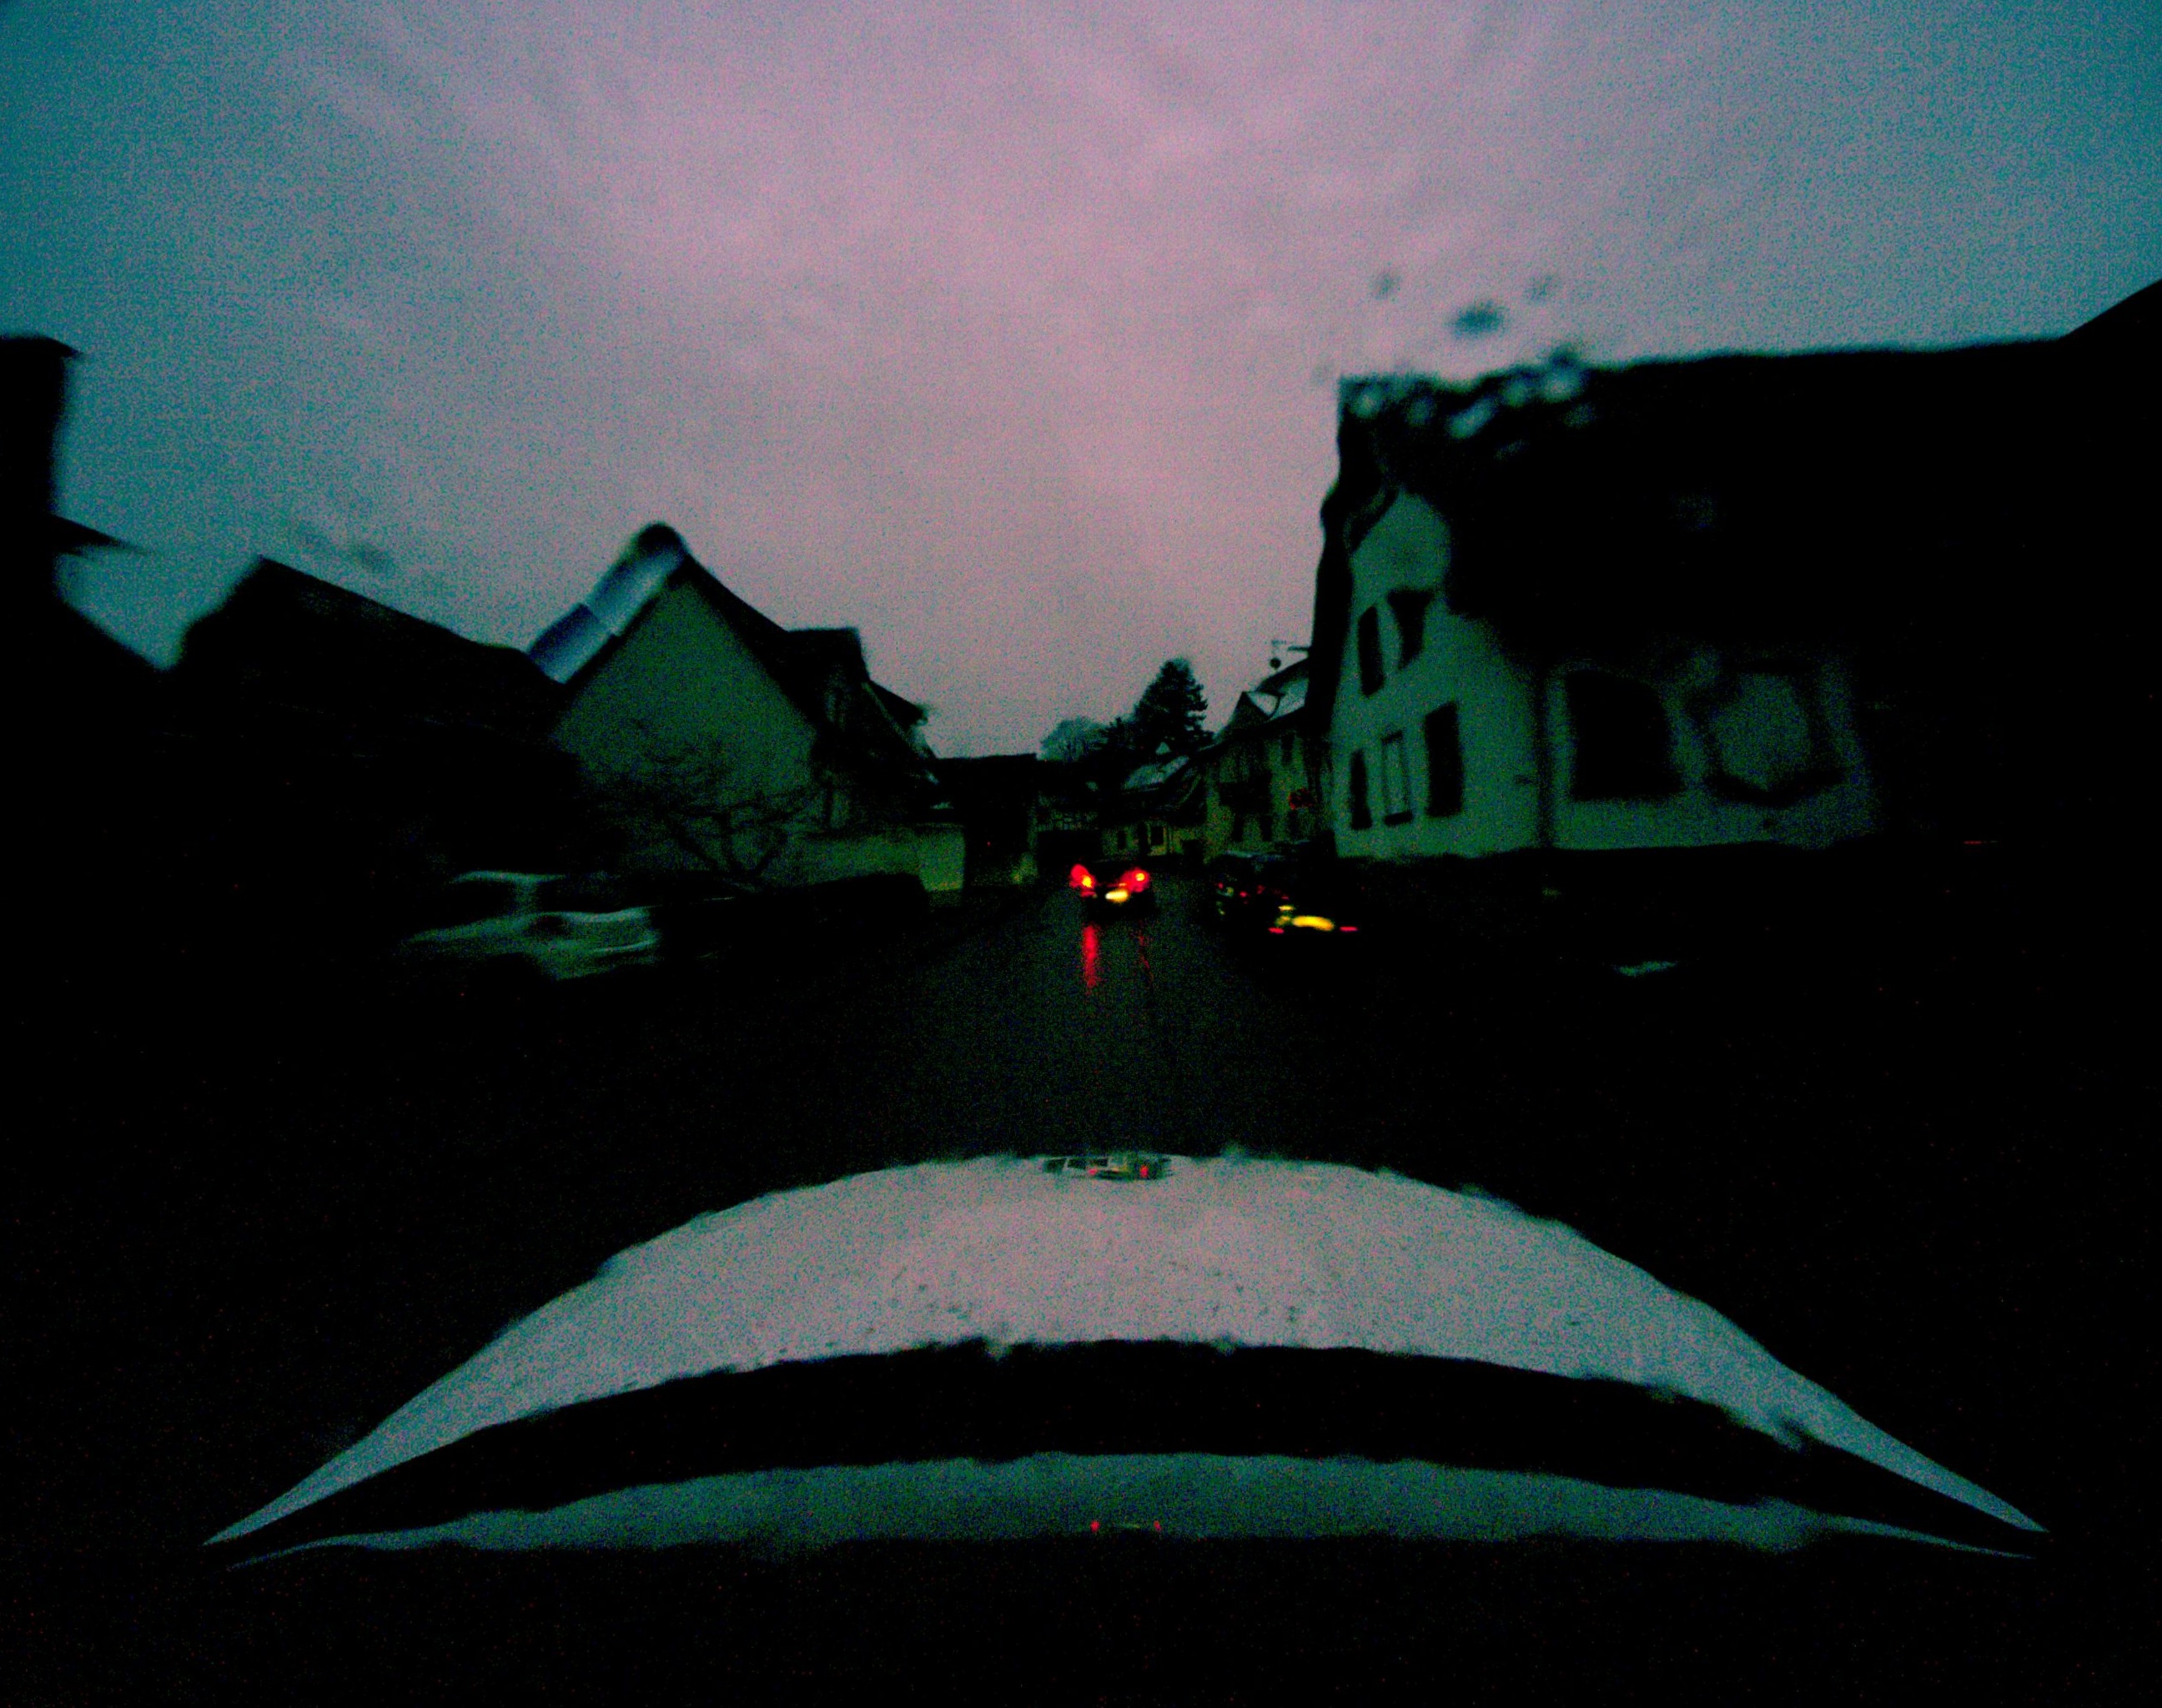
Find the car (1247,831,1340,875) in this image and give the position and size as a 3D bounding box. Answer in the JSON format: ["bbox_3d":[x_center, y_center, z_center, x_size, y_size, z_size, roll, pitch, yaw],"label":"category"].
[{"bbox_3d":[8.412,0.018,32.708,1.808,1.487,4.260,-5,-1,-12],"label":"car"}]

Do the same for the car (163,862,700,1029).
[{"bbox_3d":[-6.929,0.935,8.951,4.577,1.470,1.896,-3,0,7],"label":"car"}]

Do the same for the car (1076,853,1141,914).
[{"bbox_3d":[0.821,0.735,22.043,1.539,1.466,3.703,-1,0,5],"label":"car"}]

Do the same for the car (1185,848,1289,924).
[{"bbox_3d":[3.392,0.643,18.365,1.632,1.494,4.001,-1,0,1],"label":"car"}]

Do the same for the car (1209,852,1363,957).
[{"bbox_3d":[3.248,0.721,13.642,1.632,1.471,4.001,-1,0,1],"label":"car"}]

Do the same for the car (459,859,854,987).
[{"bbox_3d":[-5.890,0.923,11.689,4.573,1.470,2.002,-3,0,4],"label":"car"}]
